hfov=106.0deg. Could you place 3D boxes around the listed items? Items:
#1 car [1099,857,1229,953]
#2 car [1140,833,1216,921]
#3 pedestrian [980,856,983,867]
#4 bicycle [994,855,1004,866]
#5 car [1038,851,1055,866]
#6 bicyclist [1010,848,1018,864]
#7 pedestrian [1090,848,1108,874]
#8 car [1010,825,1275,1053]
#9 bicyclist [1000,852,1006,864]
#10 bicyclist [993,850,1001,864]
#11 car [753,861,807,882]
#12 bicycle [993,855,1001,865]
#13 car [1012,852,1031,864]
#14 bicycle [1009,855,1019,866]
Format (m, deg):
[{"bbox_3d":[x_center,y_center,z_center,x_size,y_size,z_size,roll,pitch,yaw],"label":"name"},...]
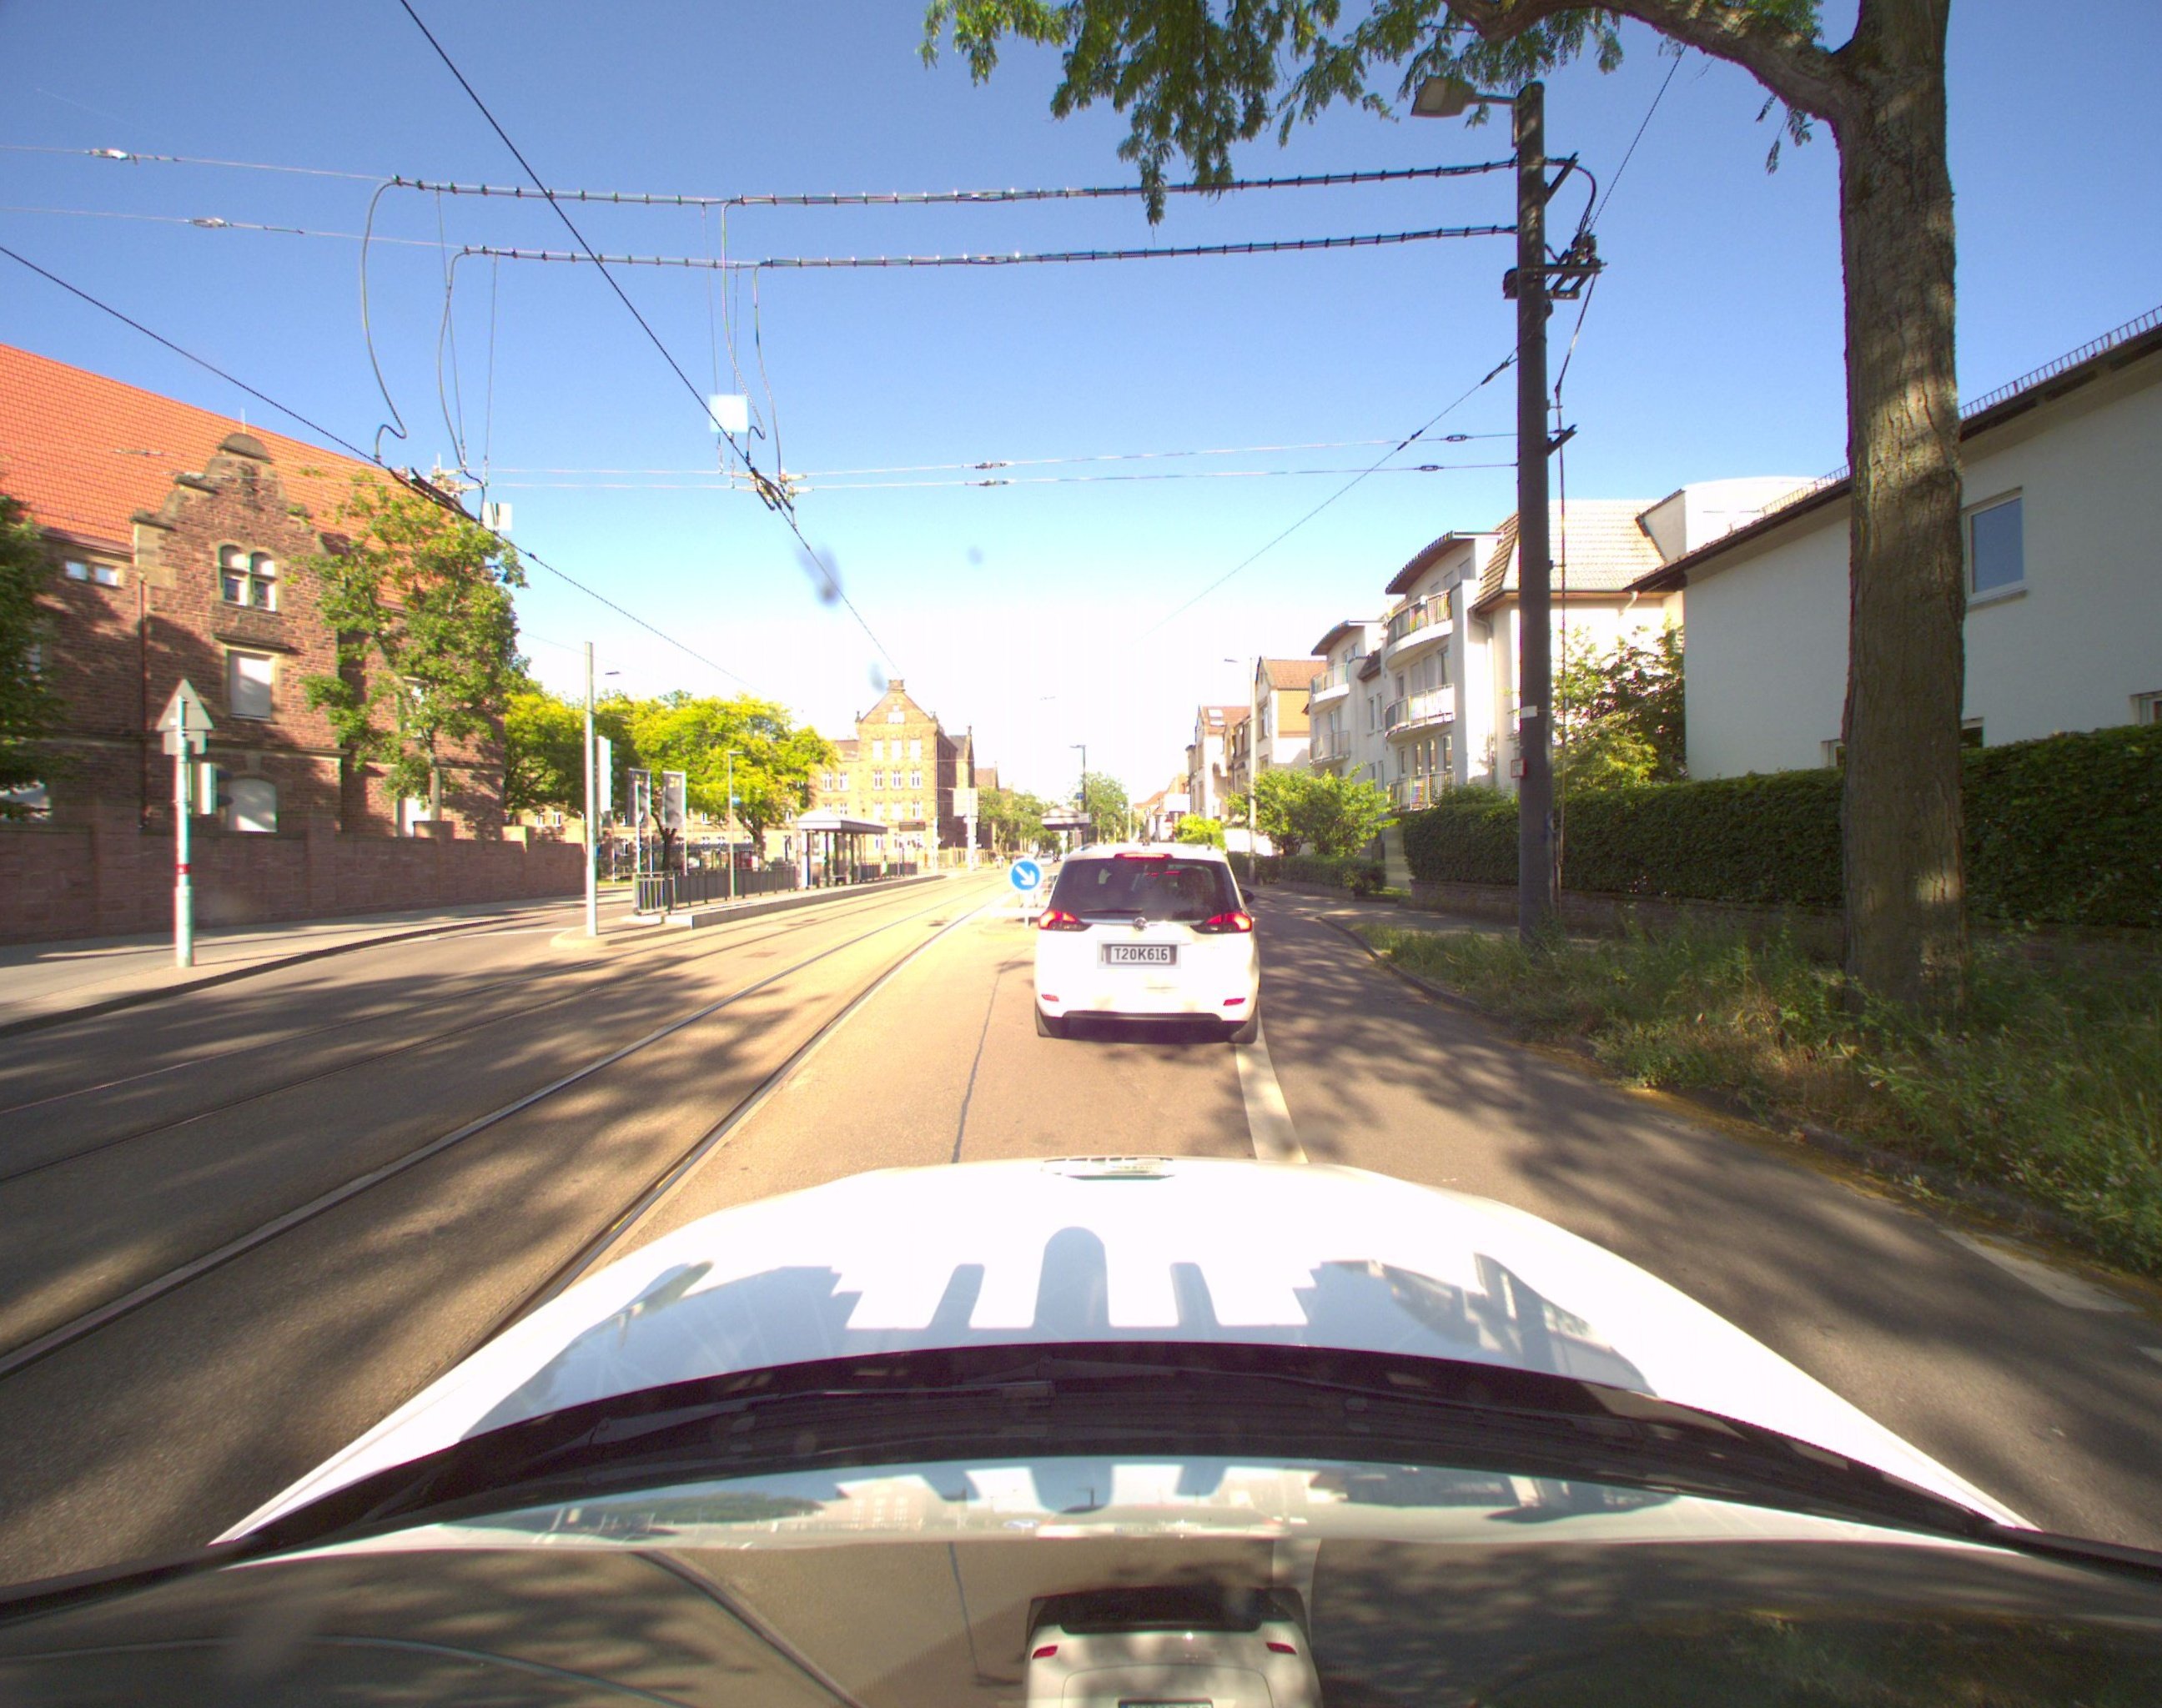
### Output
[{"bbox_3d":[1.602,0.805,14.632,1.982,1.442,4.010,-2,0,9],"label":"car"},{"bbox_3d":[2.553,0.533,20.756,1.698,2.013,3.917,-2,0,9],"label":"car"},{"bbox_3d":[-14.106,1.059,115.369,0.360,1.438,0.549,-1,0,2],"label":"pedestrian"},{"bbox_3d":[-10.846,0.852,107.883,1.145,1.297,2.859,-1,0,-2],"label":"bicycle"},{"bbox_3d":[-4.541,0.647,107.752,1.987,1.913,4.000,-1,-1,1],"label":"car"},{"bbox_3d":[-8.709,0.230,106.091,0.948,2.014,0.822,-1,0,-4],"label":"bicyclist"},{"bbox_3d":[1.338,0.541,62.150,1.156,2.014,1.115,0,-1,-10],"label":"pedestrian"},{"bbox_3d":[0.711,0.685,7.987,1.882,1.611,4.237,-1,-2,8],"label":"car"},{"bbox_3d":[-10.507,0.596,109.704,0.700,1.607,0.657,-1,0,-1],"label":"bicyclist"},{"bbox_3d":[-10.637,0.402,103.544,0.941,1.734,0.861,-1,0,-1],"label":"bicyclist"},{"bbox_3d":[-26.239,1.509,71.172,3.980,1.789,1.997,-1,0,-5],"label":"car"},{"bbox_3d":[-10.640,0.728,103.254,0.819,1.297,2.676,-1,0,-2],"label":"bicycle"},{"bbox_3d":[-8.360,0.539,114.330,1.984,1.722,4.005,-1,0,4],"label":"car"},{"bbox_3d":[-8.728,0.851,106.091,1.145,1.297,2.859,-1,0,-2],"label":"bicycle"}]
